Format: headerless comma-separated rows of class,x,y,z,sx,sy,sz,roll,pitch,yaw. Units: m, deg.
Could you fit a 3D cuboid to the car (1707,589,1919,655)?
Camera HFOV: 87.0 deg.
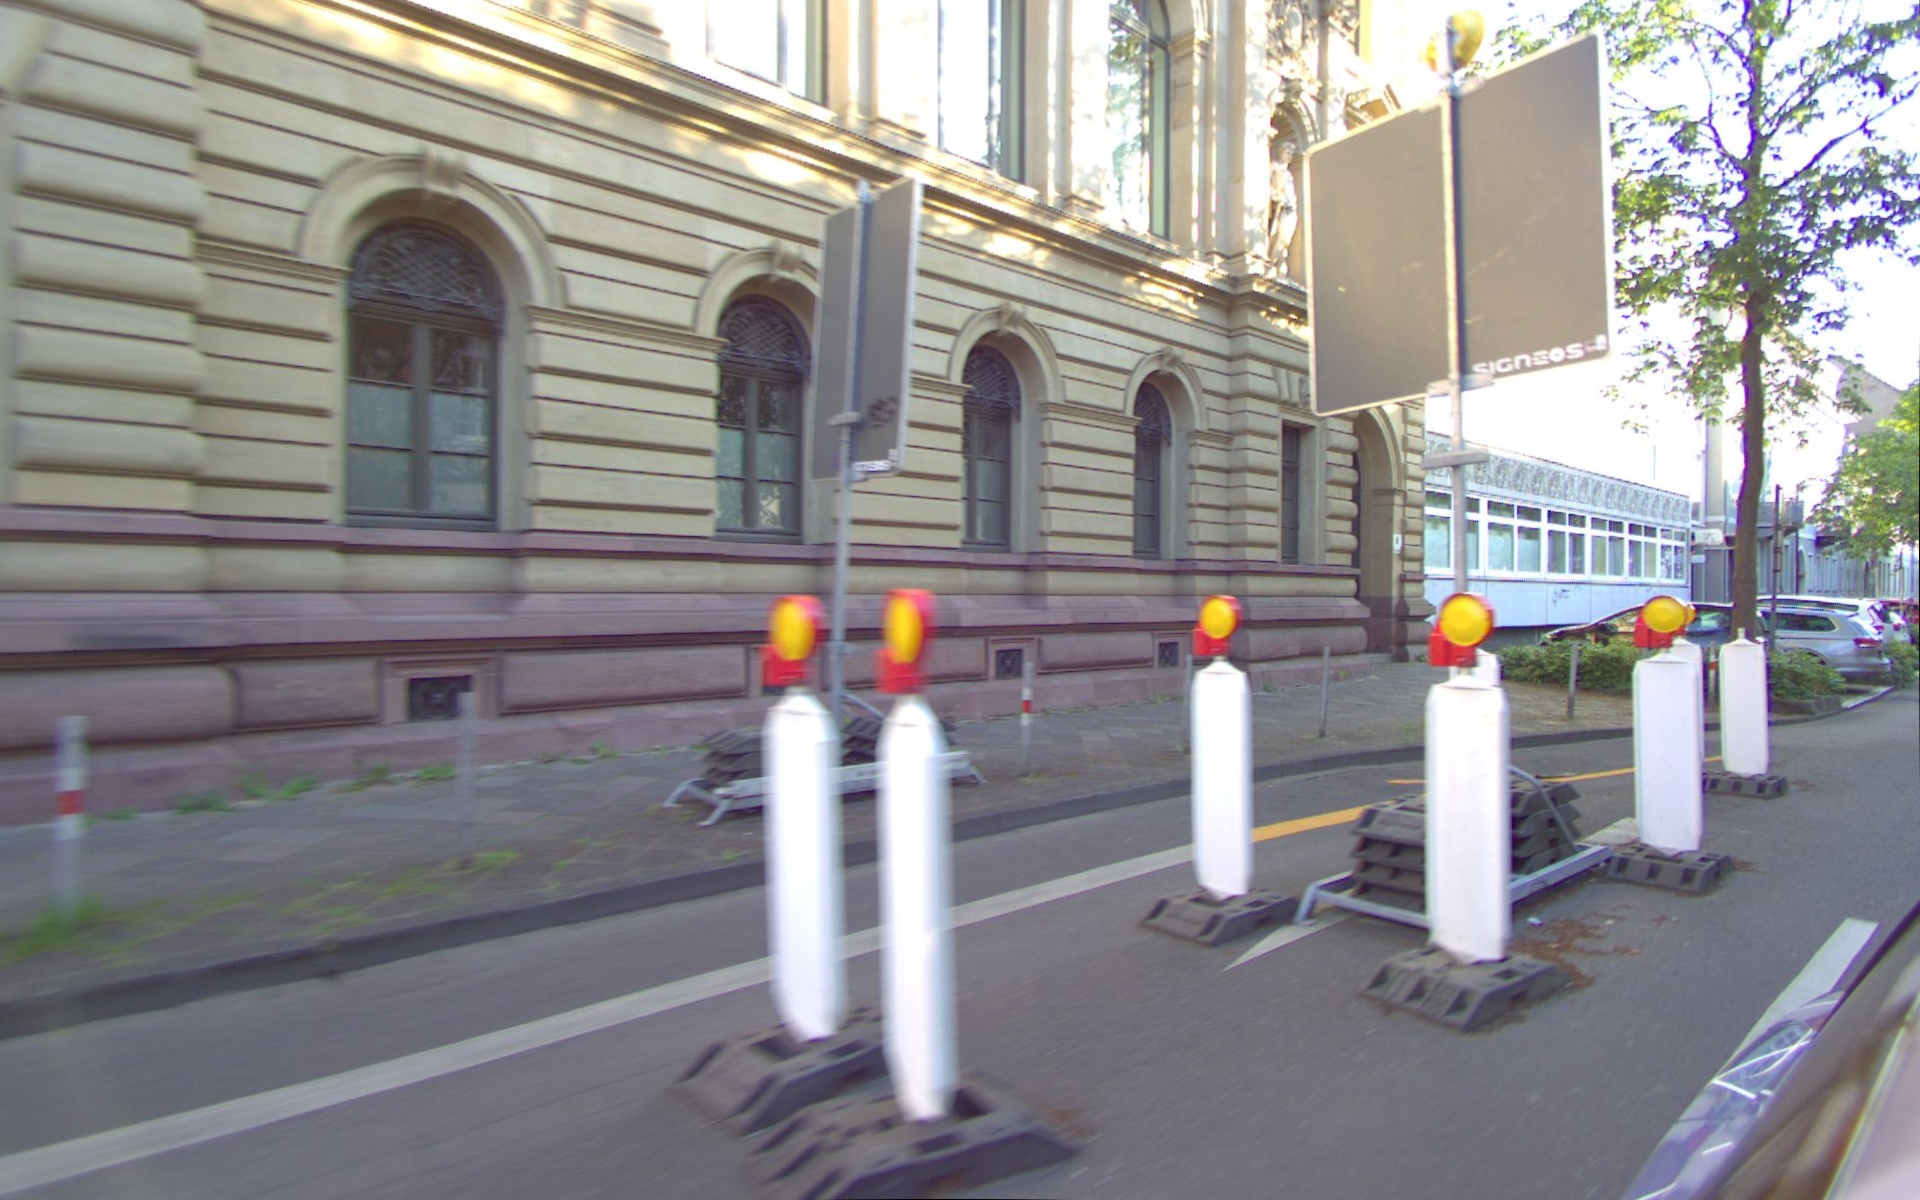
car,23.321,0.523,27.671,1.855,1.512,4.363,0,2,-43

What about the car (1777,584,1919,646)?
car,27.485,0.430,30.374,1.704,1.644,4.363,0,3,-43

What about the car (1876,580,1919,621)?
car,44.207,0.087,45.476,1.704,1.800,4.363,0,3,-43

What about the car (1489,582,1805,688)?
car,12.124,0.510,18.076,1.804,1.482,4.361,-1,3,-44

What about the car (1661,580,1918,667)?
car,19.187,0.447,23.564,2.020,1.662,4.363,0,3,-43

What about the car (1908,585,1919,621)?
car,52.777,0.199,53.050,1.704,1.896,4.362,0,2,-43

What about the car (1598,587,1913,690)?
car,14.744,0.613,18.981,1.643,1.513,4.366,0,3,-41
